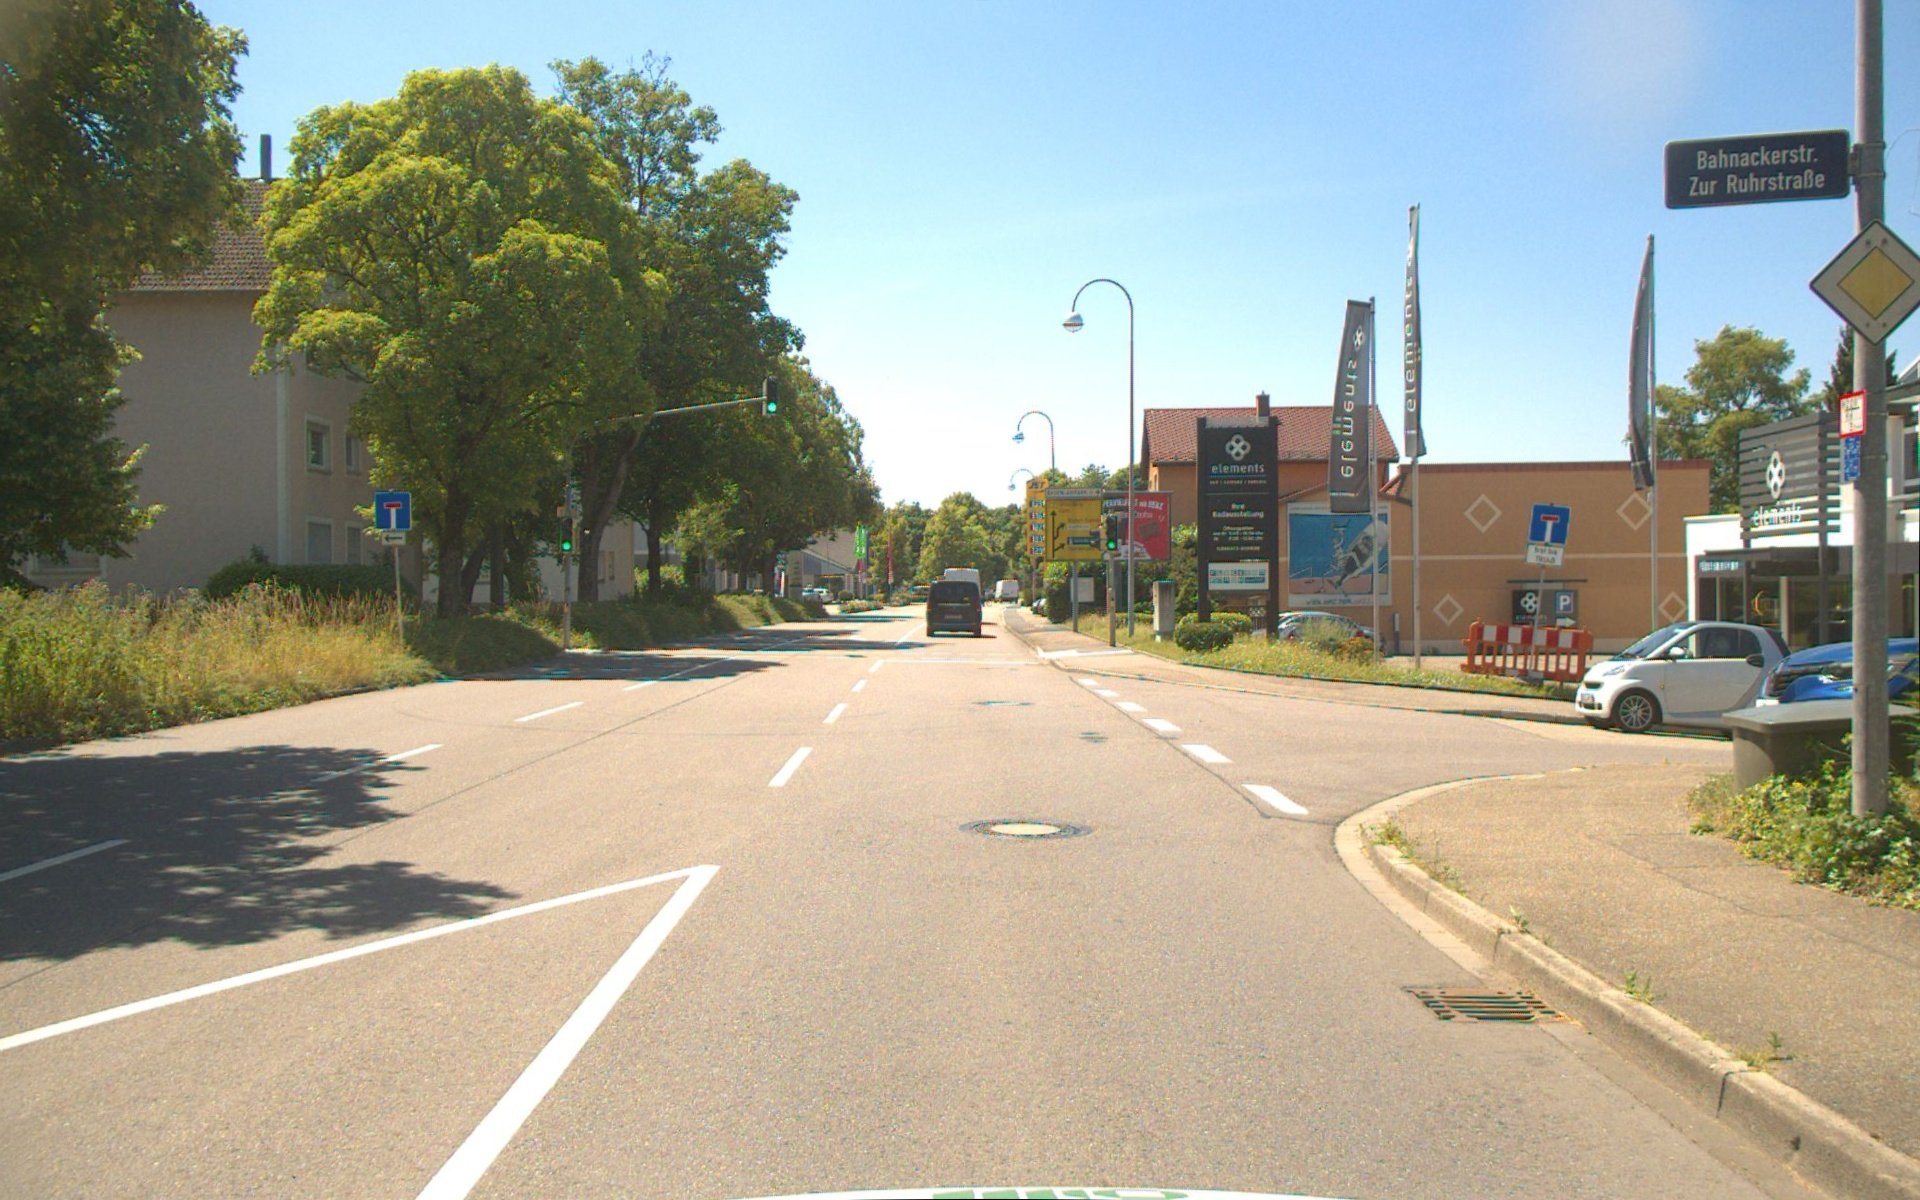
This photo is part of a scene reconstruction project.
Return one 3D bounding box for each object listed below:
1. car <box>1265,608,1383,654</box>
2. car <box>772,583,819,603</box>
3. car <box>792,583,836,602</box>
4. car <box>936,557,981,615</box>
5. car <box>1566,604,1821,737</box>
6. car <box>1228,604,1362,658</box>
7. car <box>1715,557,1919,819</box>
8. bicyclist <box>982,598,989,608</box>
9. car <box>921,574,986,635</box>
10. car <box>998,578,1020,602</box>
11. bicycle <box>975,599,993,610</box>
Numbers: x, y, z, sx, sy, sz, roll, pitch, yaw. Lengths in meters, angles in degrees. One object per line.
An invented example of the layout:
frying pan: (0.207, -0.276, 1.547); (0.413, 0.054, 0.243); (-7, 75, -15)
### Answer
car: (13.538, 1.138, 61.717); (4.169, 1.627, 1.891); (0, 1, 7)
car: (-15.313, -0.646, 153.996); (3.956, 1.735, 1.904); (1, 1, 17)
car: (-14.239, -0.744, 161.754); (3.902, 1.691, 2.002); (1, 1, 10)
car: (-0.059, -0.713, 81.221); (2.076, 2.724, 5.662); (1, 1, 0)
car: (9.788, 0.937, 22.236); (2.709, 1.546, 1.597); (3, -2, 5)
car: (11.310, 1.038, 56.027); (4.183, 1.675, 1.890); (1, 1, 2)
car: (7.357, 0.739, 10.795); (3.983, 1.540, 1.857); (6, -1, 11)
bicyclist: (2.386, 0.279, 156.259); (0.462, 0.868, 0.554); (-1, 3, -22)
car: (-0.265, 0.111, 55.669); (1.954, 1.926, 3.998); (1, 1, -3)
car: (5.528, -1.103, 186.628); (2.305, 2.591, 4.955); (1, 1, -1)
bicycle: (2.276, 0.411, 156.215); (1.692, 0.902, 0.554); (-1, 3, -23)
